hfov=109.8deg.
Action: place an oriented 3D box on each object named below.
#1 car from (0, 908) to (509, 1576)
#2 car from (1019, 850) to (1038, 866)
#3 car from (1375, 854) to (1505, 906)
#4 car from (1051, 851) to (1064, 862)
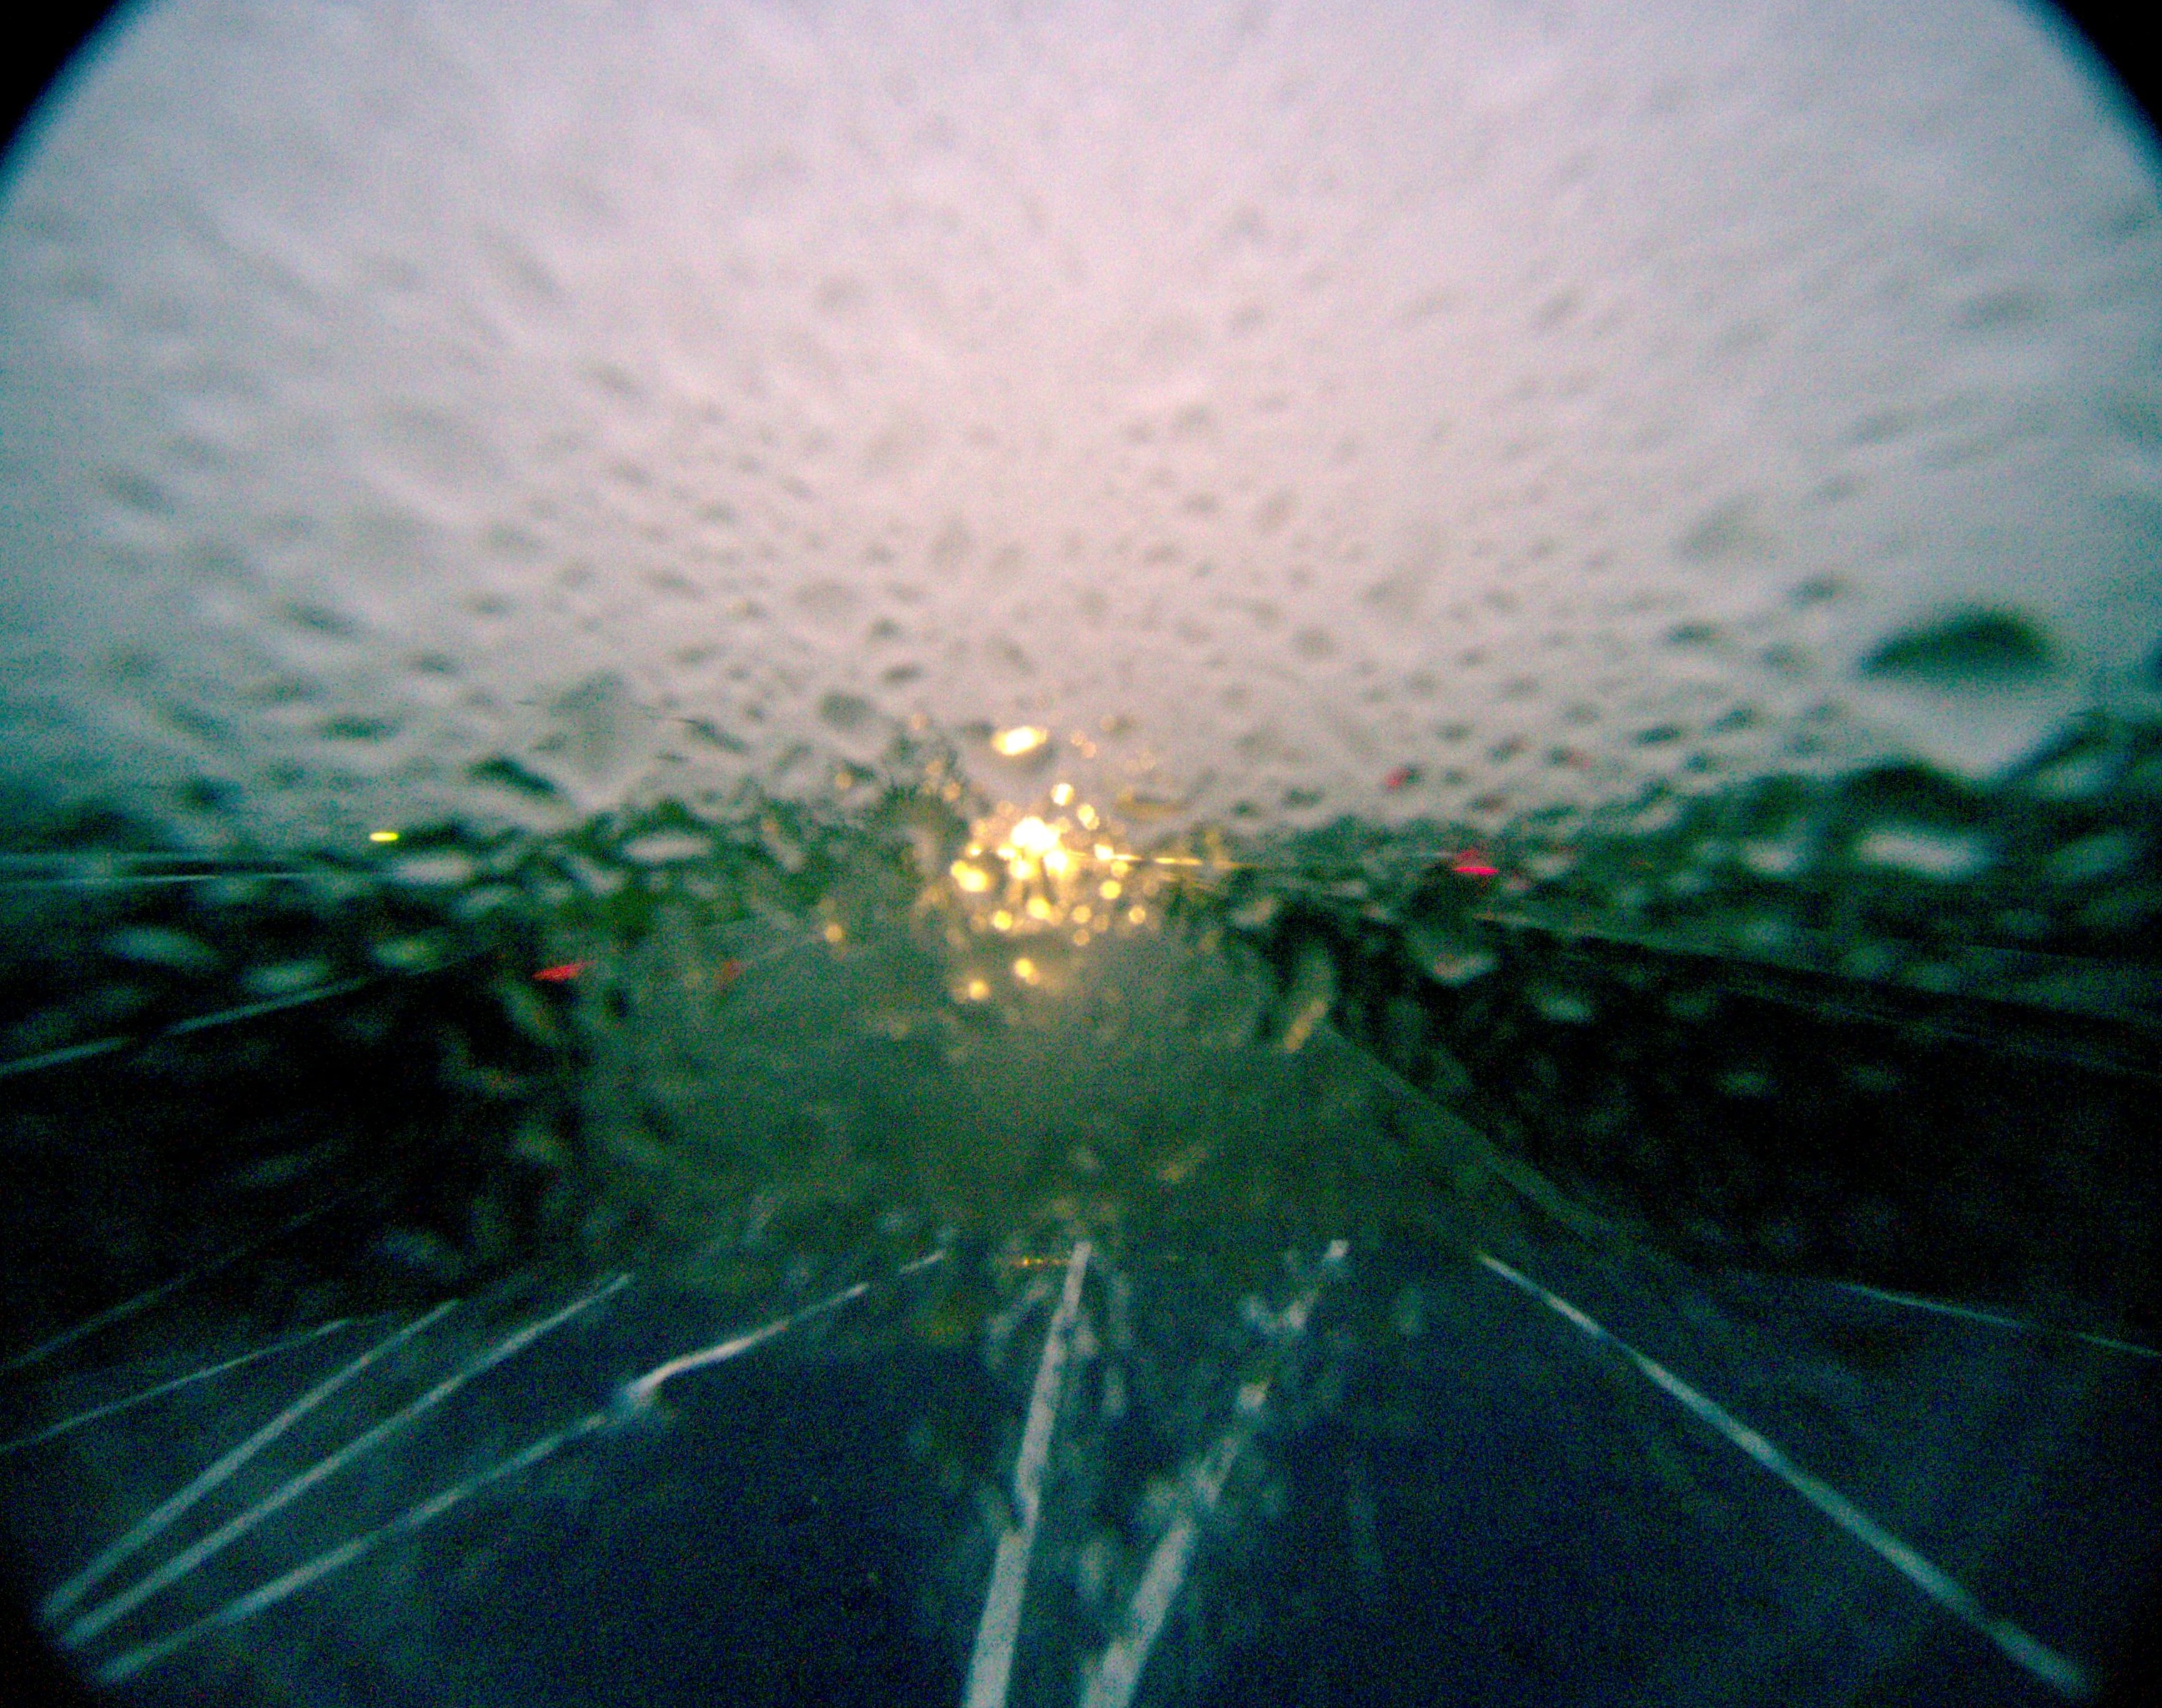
[{"bbox_3d":[-3.487,1.027,1.557,1.682,1.500,3.808,-2,0,0],"label":"car"},{"bbox_3d":[-5.616,0.452,81.489,1.802,1.494,3.998,-4,1,-3],"label":"car"},{"bbox_3d":[11.119,0.736,23.949,1.931,1.430,4.550,-2,0,0],"label":"car"},{"bbox_3d":[-3.247,0.338,103.956,1.632,1.466,3.999,-1,0,-3],"label":"car"}]
